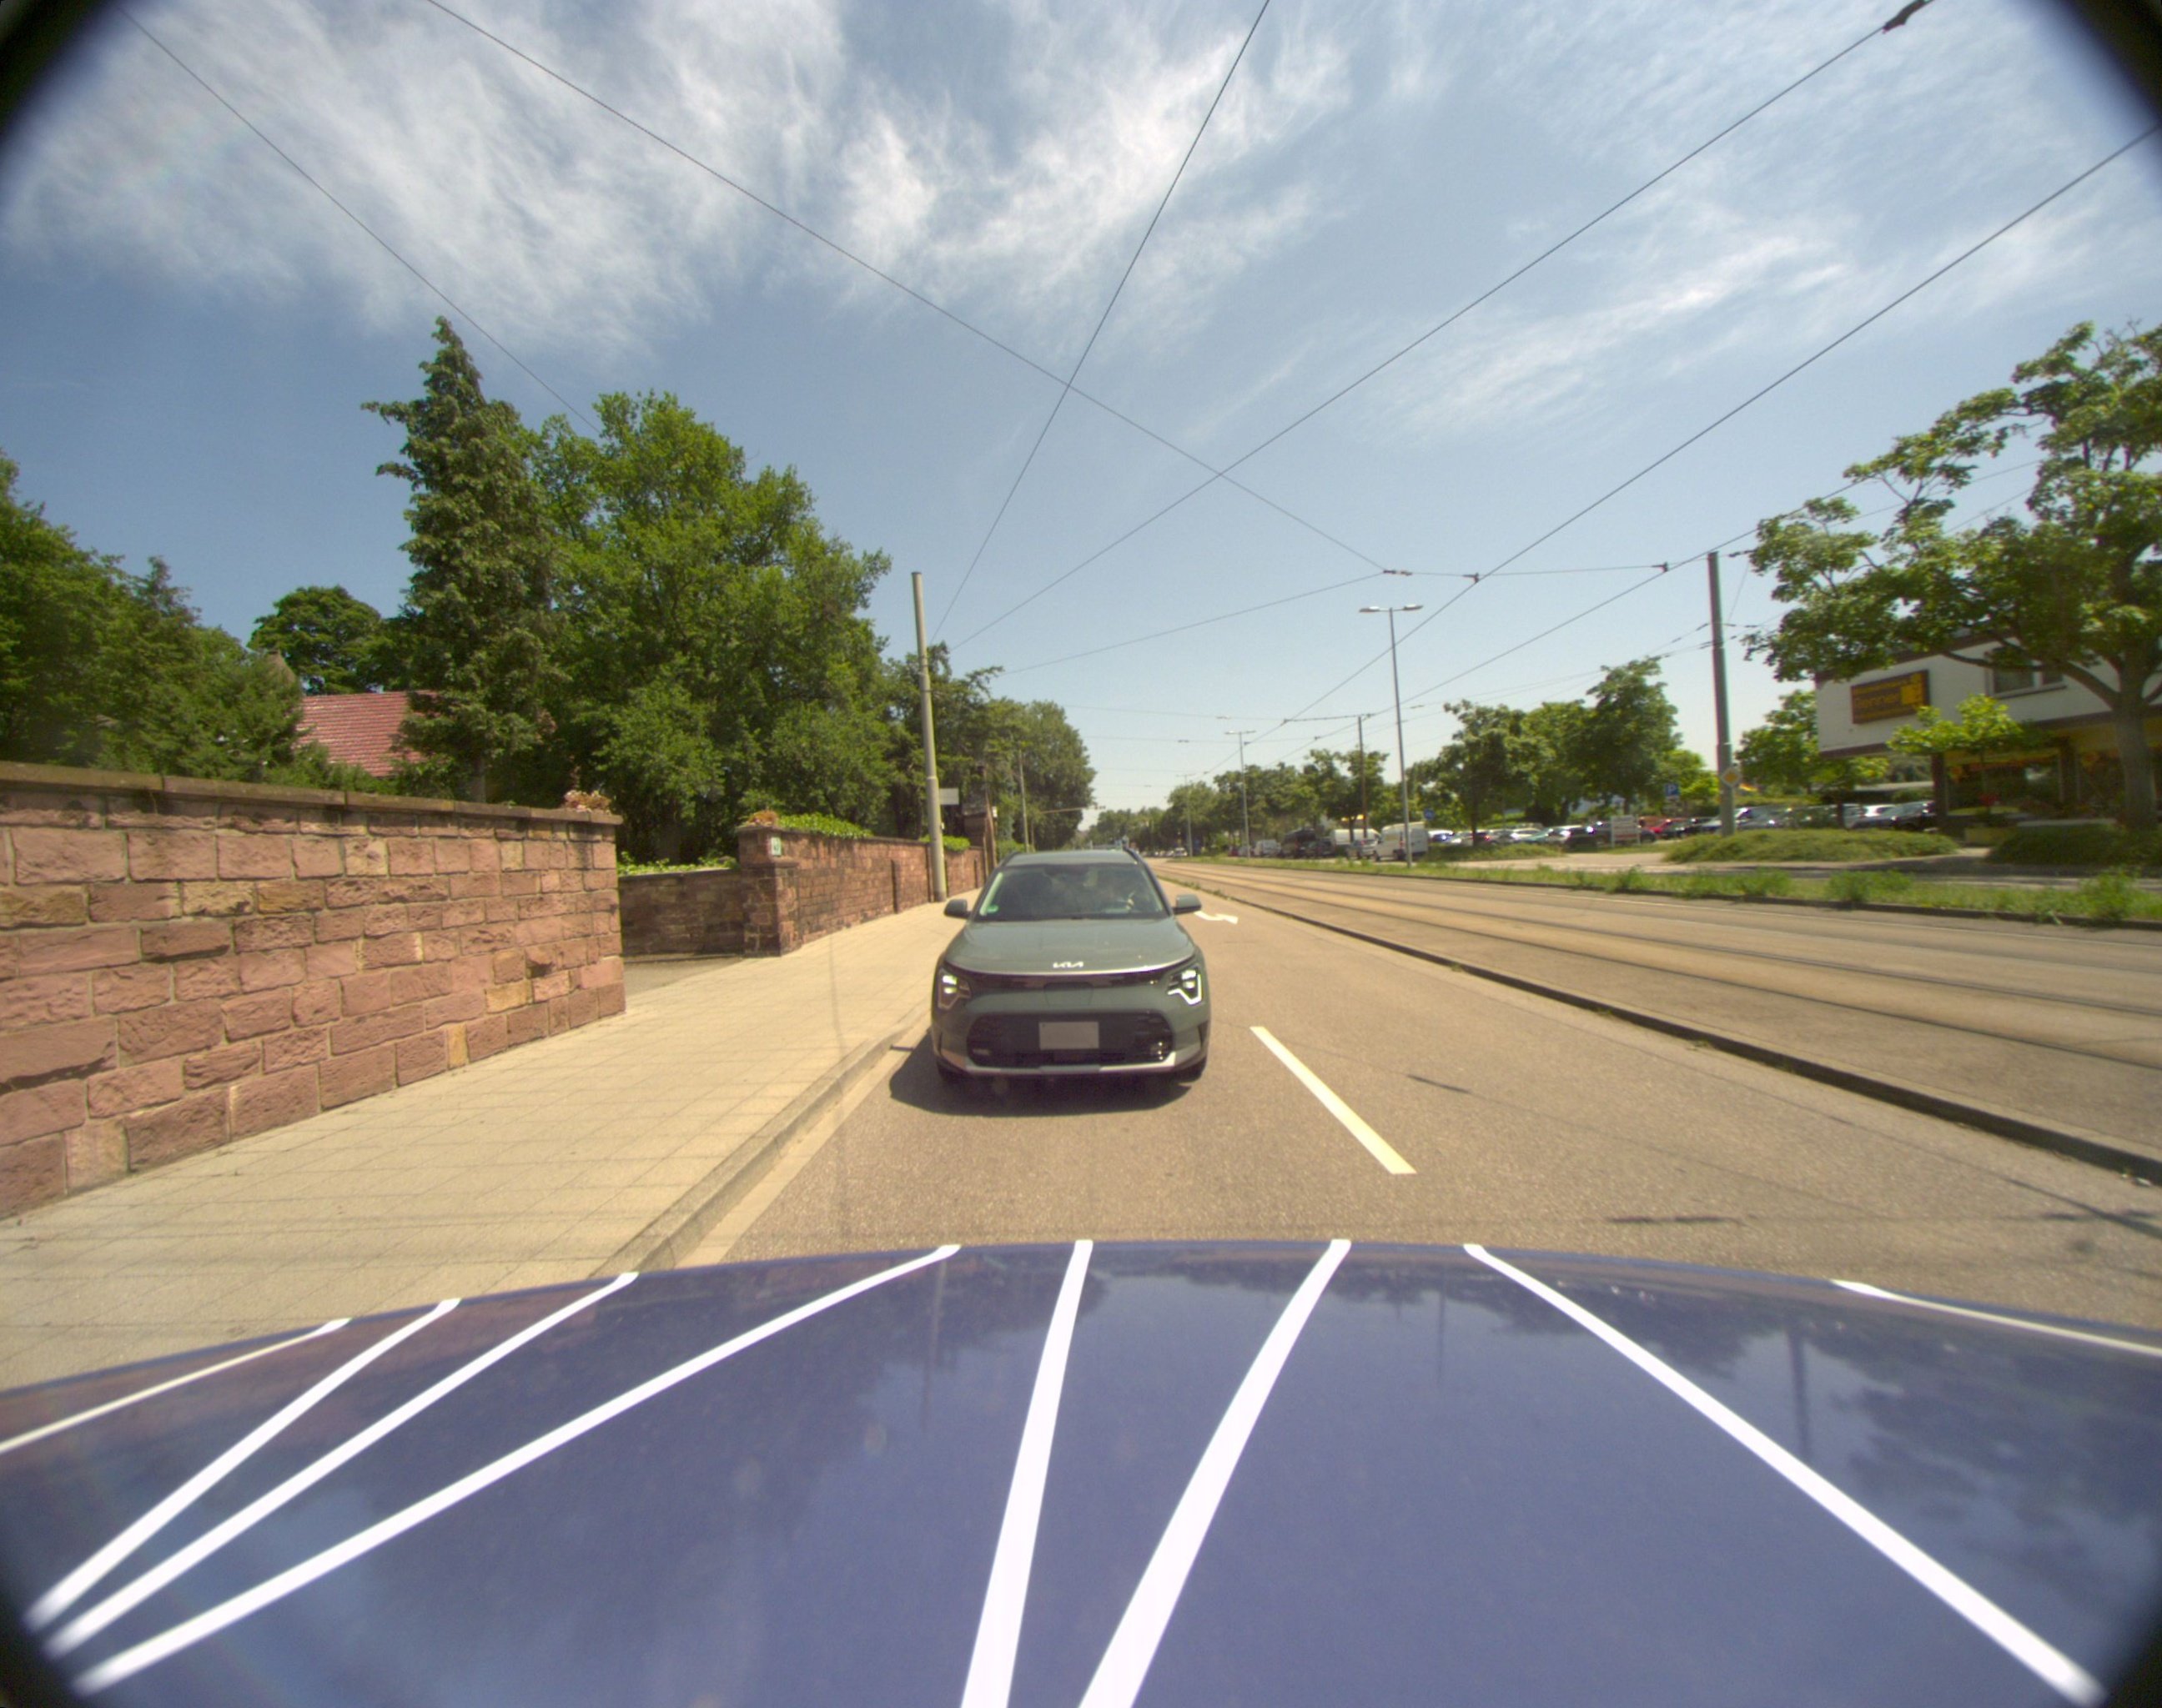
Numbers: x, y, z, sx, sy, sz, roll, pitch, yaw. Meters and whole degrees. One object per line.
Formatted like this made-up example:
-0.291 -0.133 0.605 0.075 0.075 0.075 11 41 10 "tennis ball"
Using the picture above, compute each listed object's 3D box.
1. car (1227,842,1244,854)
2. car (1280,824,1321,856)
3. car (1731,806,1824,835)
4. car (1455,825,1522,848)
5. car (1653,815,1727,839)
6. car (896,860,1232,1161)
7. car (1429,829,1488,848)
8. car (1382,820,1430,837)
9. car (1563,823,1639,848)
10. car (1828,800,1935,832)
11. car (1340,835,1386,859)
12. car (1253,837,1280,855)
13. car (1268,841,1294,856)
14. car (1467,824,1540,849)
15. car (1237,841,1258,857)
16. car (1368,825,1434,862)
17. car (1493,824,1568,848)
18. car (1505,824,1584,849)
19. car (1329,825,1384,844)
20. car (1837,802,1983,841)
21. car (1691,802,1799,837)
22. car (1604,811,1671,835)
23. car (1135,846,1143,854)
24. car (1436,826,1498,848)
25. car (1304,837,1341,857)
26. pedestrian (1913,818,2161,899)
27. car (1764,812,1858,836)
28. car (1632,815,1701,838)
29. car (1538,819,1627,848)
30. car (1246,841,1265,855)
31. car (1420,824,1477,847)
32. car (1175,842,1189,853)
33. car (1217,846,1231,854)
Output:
20.569 -0.788 101.162 1.582 1.472 3.423 -2 1 2 "car"
20.259 -1.294 70.457 2.244 2.822 5.667 -2 1 1 "car"
43.297 -2.068 47.303 3.996 1.647 1.803 -2 1 3 "car"
30.882 -1.311 57.642 4.075 1.481 1.831 -3 1 -6 "car"
43.858 -1.952 54.786 3.997 1.576 1.684 -2 1 -1 "car"
-0.103 0.890 6.367 1.824 1.577 4.287 -2 0 0 "car"
31.192 -1.290 62.899 3.998 1.398 1.797 -2 0 -3 "car"
44.776 -3.527 104.785 5.744 2.051 2.147 -2 1 -2 "car"
30.560 -1.079 44.693 3.423 1.225 1.643 -3 1 -6 "car"
43.934 -2.064 41.741 3.996 1.511 1.661 -2 1 3 "car"
20.162 -0.503 54.492 1.654 1.494 4.125 -6 1 1 "car"
20.589 -0.902 84.368 1.924 1.937 4.816 -2 1 2 "car"
20.611 -0.632 78.520 1.767 1.456 3.608 -2 1 2 "car"
30.450 -1.255 54.812 4.163 1.481 2.022 -3 1 -6 "car"
20.718 -0.683 94.610 1.635 1.882 4.496 -2 1 1 "car"
20.113 -0.679 48.013 1.880 1.999 5.343 -6 1 1 "car"
30.957 -1.221 52.400 4.146 1.481 1.859 -2 1 -6 "car"
30.434 -1.130 49.944 4.040 1.481 1.911 -2 1 -6 "car"
30.662 -2.154 84.686 5.434 1.945 2.029 -2 1 2 "car"
34.081 -1.307 31.317 3.996 1.289 1.682 -4 0 2 "car"
43.386 -2.236 49.723 5.120 2.058 2.226 -2 1 1 "car"
43.755 -2.399 59.738 4.129 1.643 1.692 -3 1 -5 "car"
16.046 -1.051 210.155 1.821 1.979 4.212 -2 1 -3 "car"
30.535 -1.331 60.136 3.999 1.480 1.866 -3 1 -6 "car"
20.339 -0.578 64.104 1.976 1.568 3.751 -2 1 1 "car"
26.726 0.076 21.487 1.998 2.002 3.999 -2 1 0 "pedestrian"
42.788 -1.748 44.607 3.724 1.277 1.764 -2 1 3 "car"
44.256 -2.071 57.462 3.999 1.486 1.715 -2 1 -5 "car"
31.155 -1.266 47.259 4.171 1.481 1.984 -3 1 -1 "car"
20.661 -0.725 89.953 1.429 1.470 3.262 -2 1 1 "car"
31.640 -1.554 65.551 3.998 1.708 1.797 -3 1 -3 "car"
16.313 -1.042 122.714 1.728 1.601 4.569 -2 1 2 "car"
21.339 -0.598 113.192 1.582 1.152 3.423 -2 1 2 "car"
